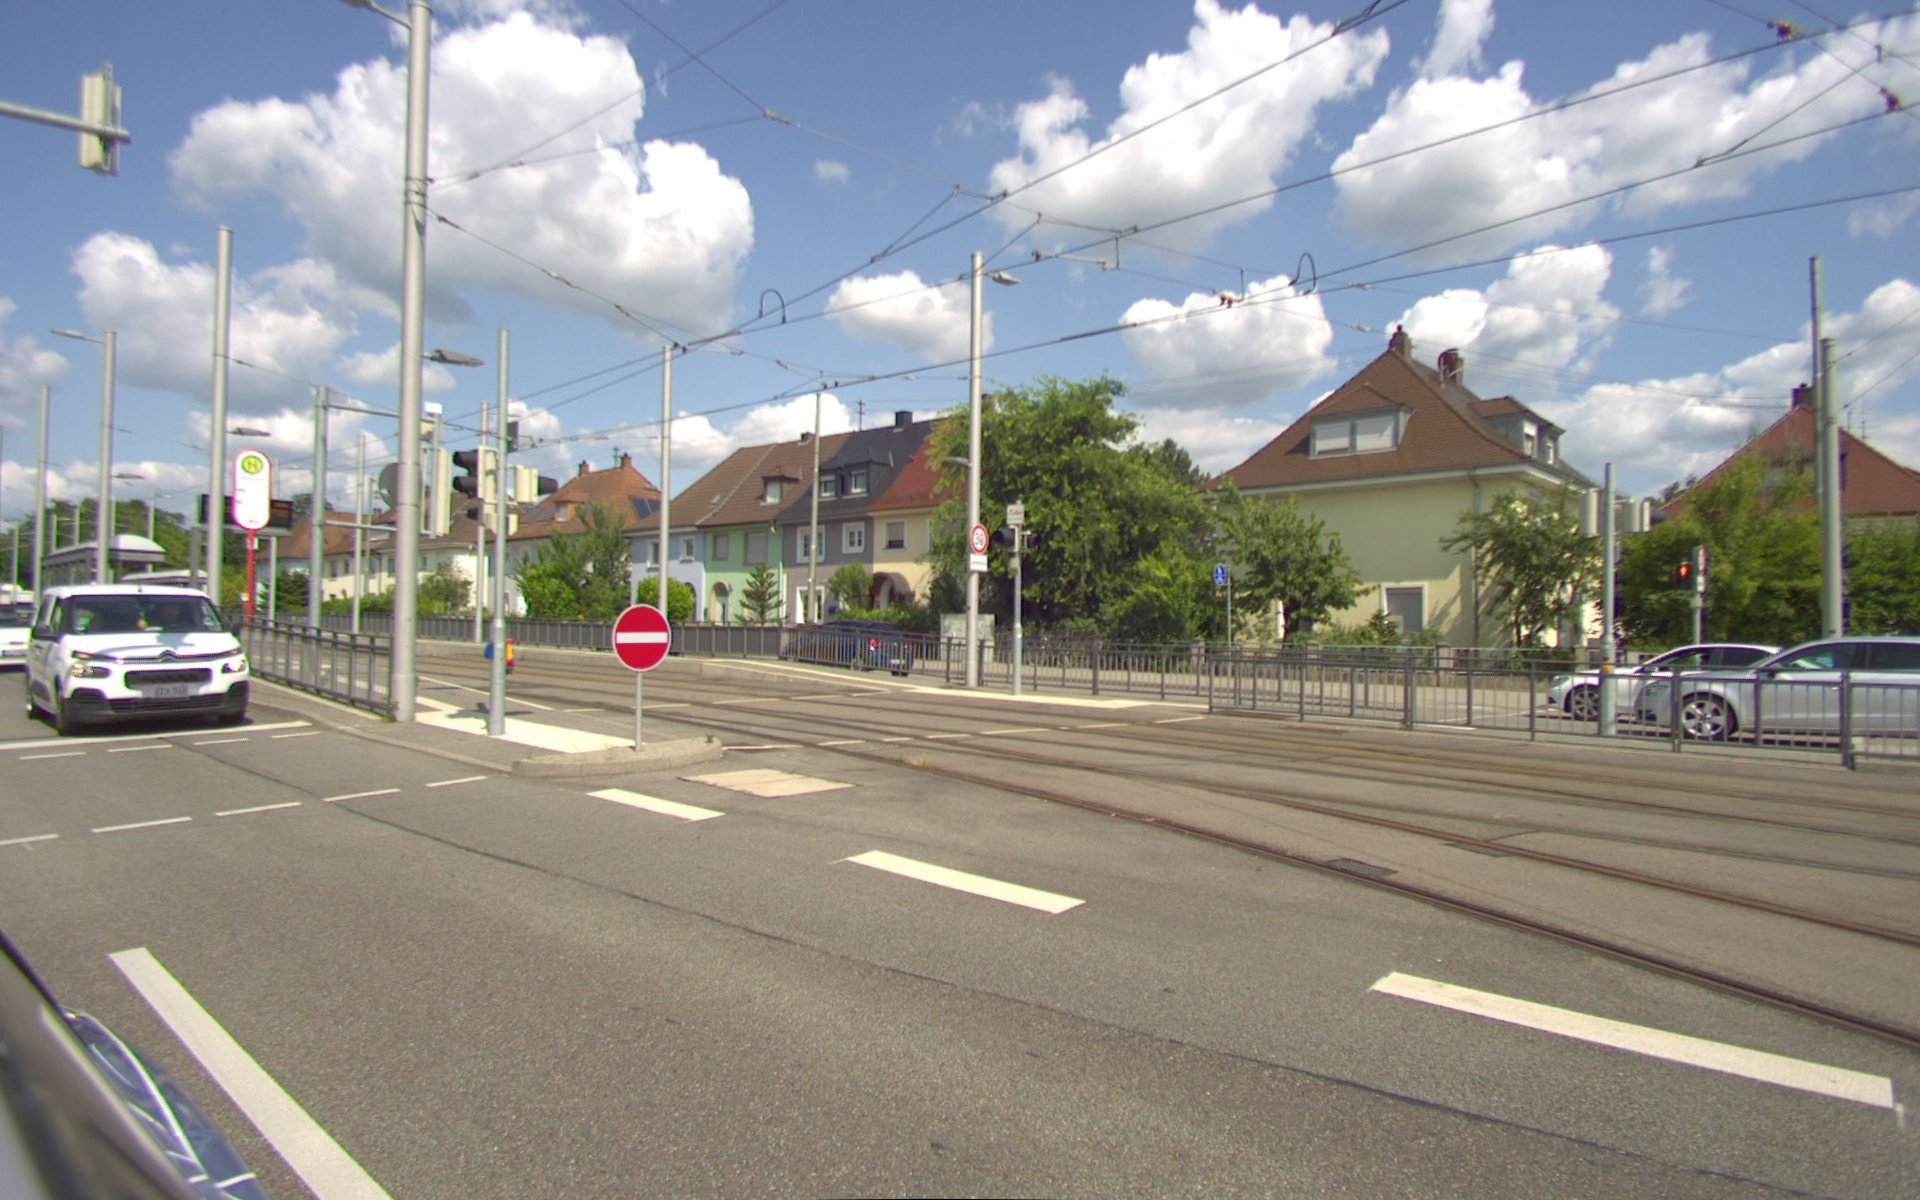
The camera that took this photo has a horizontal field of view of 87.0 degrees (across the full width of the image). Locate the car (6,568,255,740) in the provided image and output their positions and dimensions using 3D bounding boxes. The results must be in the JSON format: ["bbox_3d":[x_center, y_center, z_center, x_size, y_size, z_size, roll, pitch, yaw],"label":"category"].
[{"bbox_3d":[-10.642,0.560,12.870,4.327,1.829,1.776,0,0,41],"label":"car"}]

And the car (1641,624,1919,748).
[{"bbox_3d":[11.462,1.057,13.100,4.177,1.362,1.972,0,0,42],"label":"car"}]

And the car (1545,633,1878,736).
[{"bbox_3d":[12.506,1.328,17.096,4.340,1.362,1.668,0,0,39],"label":"car"}]

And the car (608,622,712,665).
[{"bbox_3d":[-11.198,1.576,37.646,4.343,1.362,1.667,0,0,41],"label":"car"}]

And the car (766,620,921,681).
[{"bbox_3d":[-3.090,1.258,26.320,4.177,1.362,1.666,0,0,42],"label":"car"}]

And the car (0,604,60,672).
[{"bbox_3d":[-22.498,0.844,23.637,3.389,1.515,1.660,0,0,38],"label":"car"}]
